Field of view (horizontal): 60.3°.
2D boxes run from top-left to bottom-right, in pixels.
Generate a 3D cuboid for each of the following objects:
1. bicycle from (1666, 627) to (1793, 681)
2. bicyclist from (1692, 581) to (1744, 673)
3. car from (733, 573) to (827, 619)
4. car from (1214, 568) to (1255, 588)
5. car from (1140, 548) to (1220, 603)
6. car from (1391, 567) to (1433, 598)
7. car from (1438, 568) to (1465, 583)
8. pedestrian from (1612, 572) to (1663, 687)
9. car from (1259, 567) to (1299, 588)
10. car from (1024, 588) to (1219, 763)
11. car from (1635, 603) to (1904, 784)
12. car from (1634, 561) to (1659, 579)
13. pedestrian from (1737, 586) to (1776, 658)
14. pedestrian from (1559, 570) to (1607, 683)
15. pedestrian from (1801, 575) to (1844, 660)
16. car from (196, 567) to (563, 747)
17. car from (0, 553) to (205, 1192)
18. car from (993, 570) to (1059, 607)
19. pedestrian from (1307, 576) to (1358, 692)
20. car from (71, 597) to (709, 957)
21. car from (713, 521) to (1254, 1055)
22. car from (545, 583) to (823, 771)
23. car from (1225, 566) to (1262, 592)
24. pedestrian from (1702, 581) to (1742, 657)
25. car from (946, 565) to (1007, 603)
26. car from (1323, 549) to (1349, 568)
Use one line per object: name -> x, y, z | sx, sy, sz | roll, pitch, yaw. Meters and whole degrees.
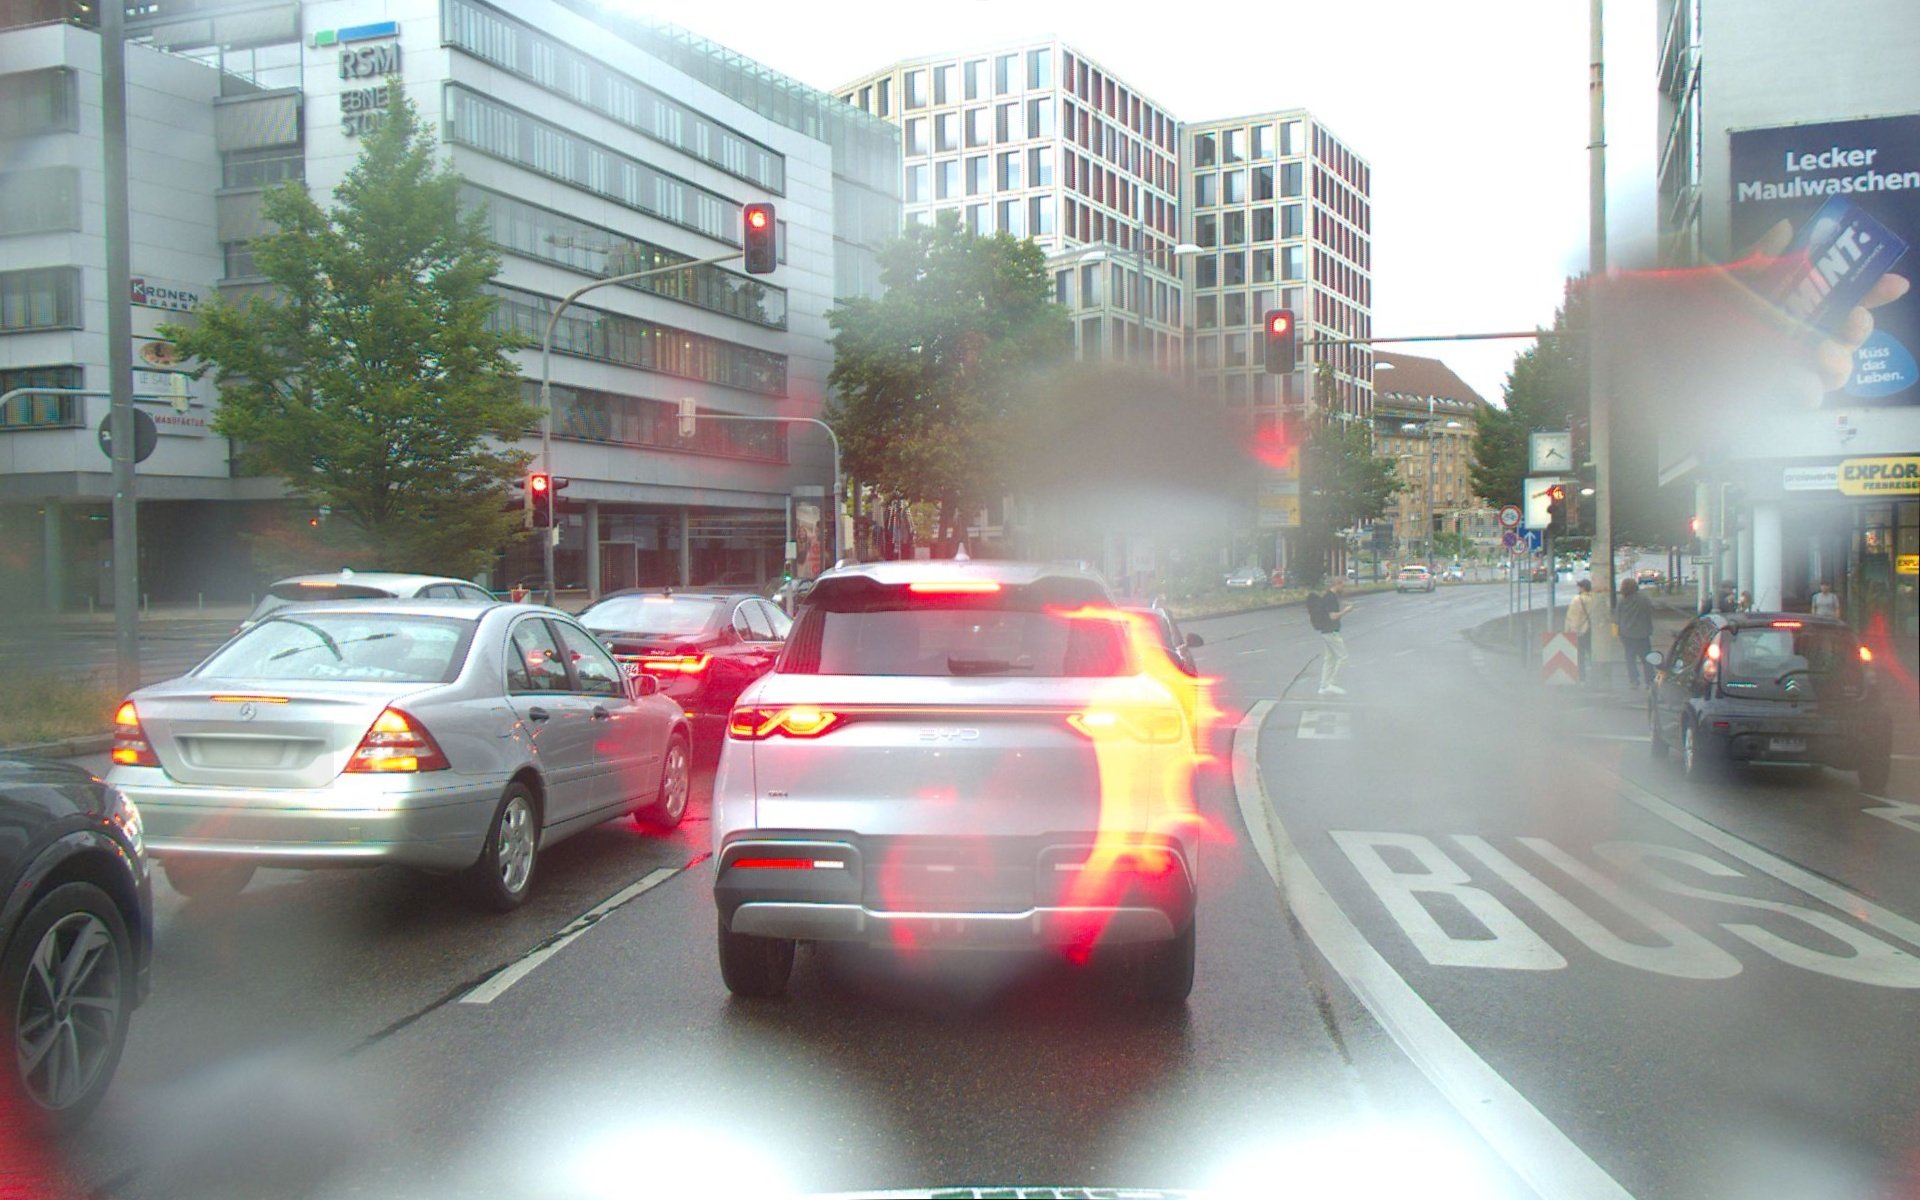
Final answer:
bicycle -> 13.497, 0.944, 29.048 | 1.982, 0.904, 0.403 | 0, 0, 17
bicyclist -> 13.340, 0.459, 29.124 | 0.751, 1.596, 0.533 | 0, 0, 18
car -> -6.669, -0.153, 61.649 | 1.952, 1.639, 4.001 | 1, 1, 20
car -> 20.458, -1.655, 123.283 | 1.955, 1.514, 3.996 | 0, 1, 27
car -> 8.715, -0.937, 65.238 | 1.953, 2.049, 4.848 | 1, 0, 22
car -> 25.486, -0.974, 93.207 | 1.849, 1.671, 4.000 | 1, 1, 22
car -> 51.122, -2.577, 171.990 | 1.955, 1.514, 3.996 | 0, 1, 27
pedestrian -> 11.033, 0.464, 26.954 | 0.733, 1.829, 0.817 | 0, 1, 20
car -> 23.885, -1.711, 123.639 | 1.955, 1.514, 3.996 | 0, 1, 27
car -> 1.732, 0.677, 16.636 | 1.657, 1.512, 4.003 | 1, 0, 10
car -> 7.476, 0.782, 15.634 | 1.537, 1.454, 4.003 | 1, 0, 15
car -> 62.802, -2.770, 151.354 | 1.662, 1.512, 3.993 | 1, 0, 29
pedestrian -> 17.657, 0.486, 36.646 | 0.615, 1.570, 0.649 | 1, 0, 43
pedestrian -> 10.313, 0.420, 27.390 | 0.733, 1.829, 0.817 | 0, 1, 20
pedestrian -> 18.770, 0.364, 35.988 | 0.659, 1.825, 0.768 | 1, 0, 43
car -> -5.465, 0.493, 16.168 | 1.670, 1.512, 4.003 | 1, 0, 9
car -> -3.120, 0.660, 2.928 | 1.614, 1.548, 4.271 | 1, 1, 0
car -> 2.732, -0.455, 67.453 | 1.655, 1.409, 3.870 | 1, 0, 18
pedestrian -> 5.757, 0.518, 25.546 | 0.753, 1.762, 0.597 | 0, 0, 13
car -> -2.657, 0.726, 8.805 | 1.537, 1.432, 4.112 | 1, 0, 7
car -> 0.120, 0.619, 7.386 | 1.739, 1.708, 4.000 | 1, 0, 1
car -> -2.434, 0.637, 15.564 | 1.537, 1.512, 4.003 | 1, 0, 6
car -> 18.154, -1.350, 105.868 | 1.610, 1.608, 4.086 | 1, 0, 21
pedestrian -> 17.140, 0.412, 37.201 | 0.659, 1.684, 0.649 | 1, 0, 43
car -> 0.735, -0.696, 70.850 | 1.609, 1.563, 4.155 | 1, 0, 15
car -> 37.330, -4.068, 164.176 | 1.577, 1.771, 3.437 | 1, 0, 31
